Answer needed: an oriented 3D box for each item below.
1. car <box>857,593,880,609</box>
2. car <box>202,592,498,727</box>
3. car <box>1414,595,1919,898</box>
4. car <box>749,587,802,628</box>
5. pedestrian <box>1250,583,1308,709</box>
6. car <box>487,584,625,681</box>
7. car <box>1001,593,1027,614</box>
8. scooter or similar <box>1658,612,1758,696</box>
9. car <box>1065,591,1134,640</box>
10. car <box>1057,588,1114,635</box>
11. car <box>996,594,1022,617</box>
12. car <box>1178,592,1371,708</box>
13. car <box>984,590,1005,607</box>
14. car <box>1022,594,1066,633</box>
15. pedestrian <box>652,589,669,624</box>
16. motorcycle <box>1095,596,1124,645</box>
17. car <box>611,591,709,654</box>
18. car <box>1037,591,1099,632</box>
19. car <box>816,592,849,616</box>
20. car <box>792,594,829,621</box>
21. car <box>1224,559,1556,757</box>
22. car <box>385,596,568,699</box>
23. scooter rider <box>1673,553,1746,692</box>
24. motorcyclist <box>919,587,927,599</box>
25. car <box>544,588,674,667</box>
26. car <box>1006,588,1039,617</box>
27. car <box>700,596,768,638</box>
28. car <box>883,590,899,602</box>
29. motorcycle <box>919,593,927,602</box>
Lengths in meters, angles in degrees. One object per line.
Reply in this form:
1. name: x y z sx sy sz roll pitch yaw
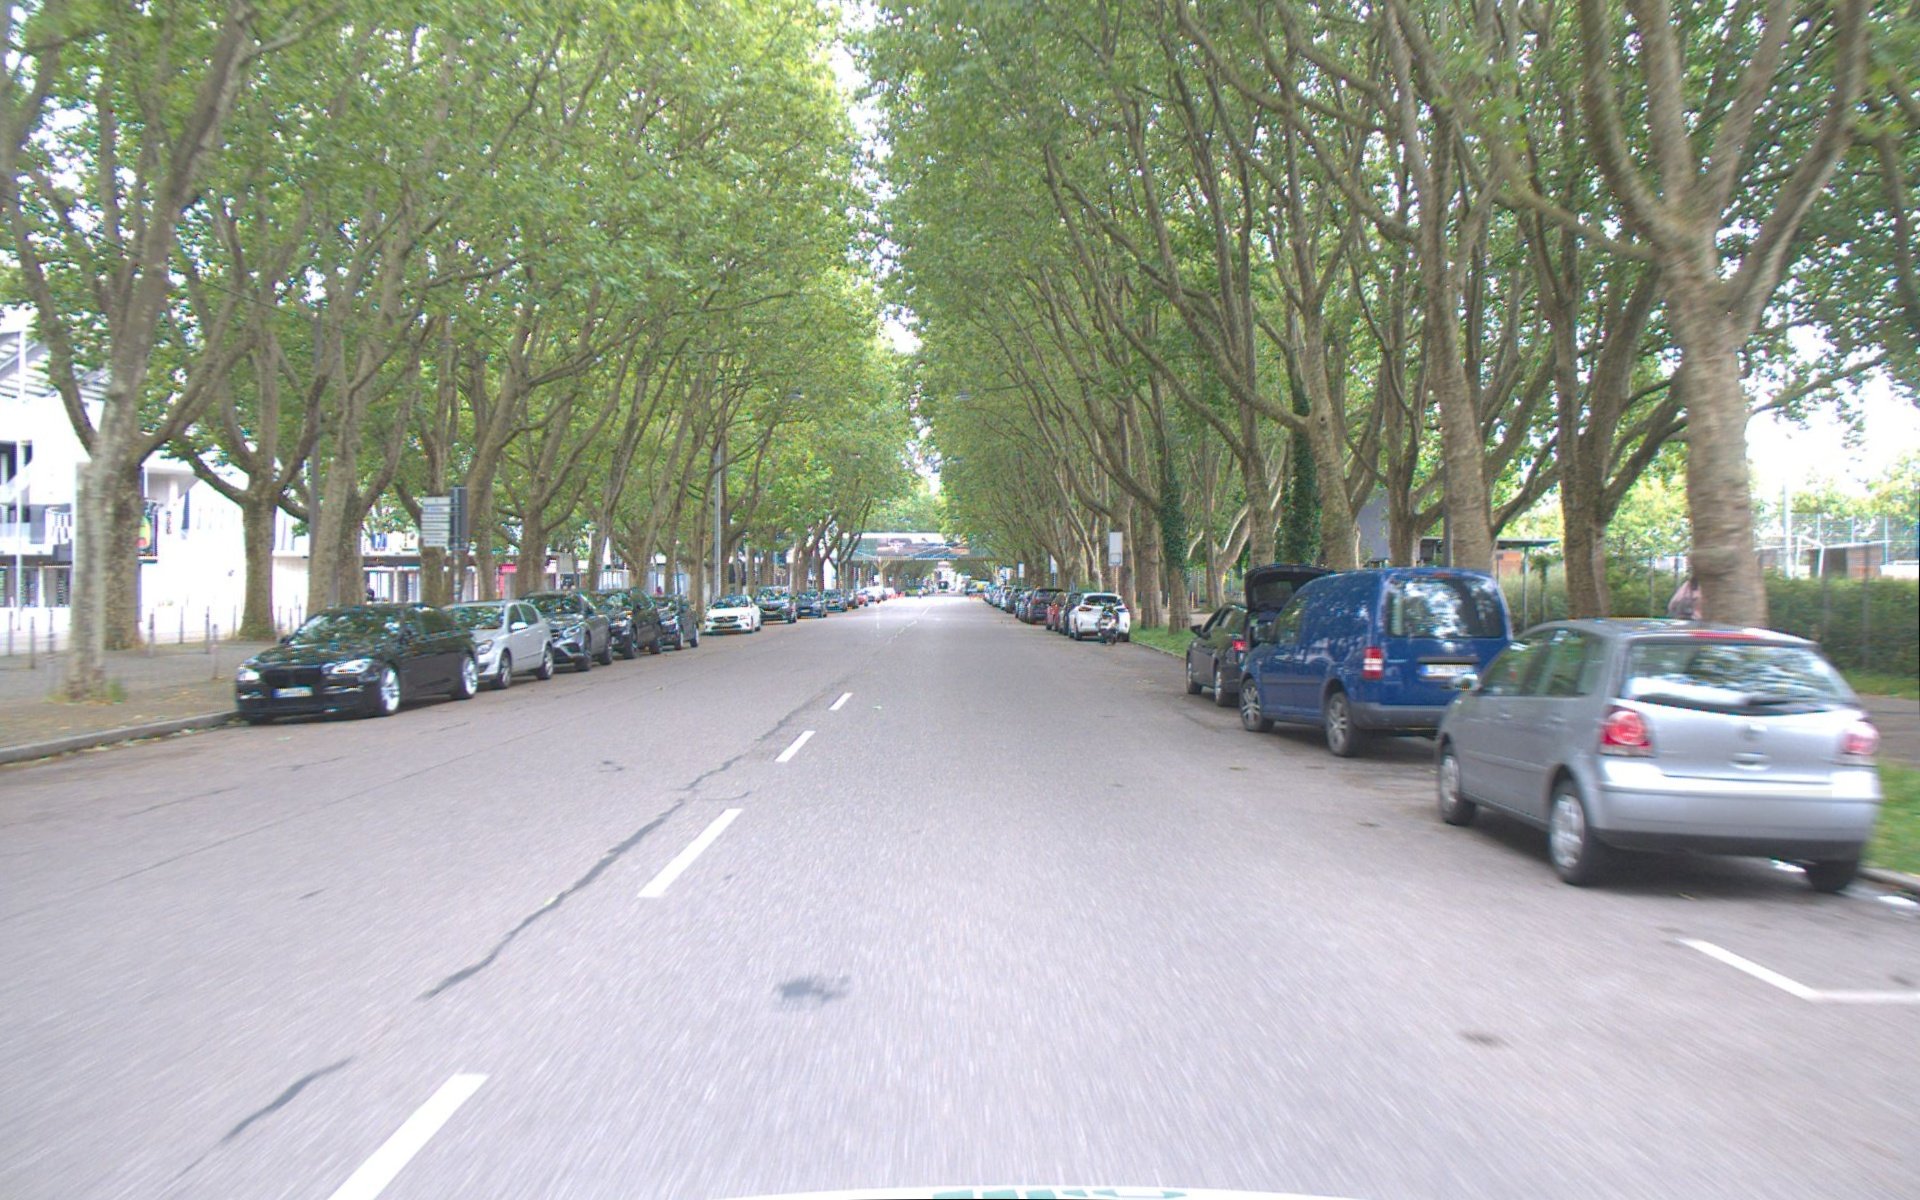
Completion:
1. car: -9.193 0.086 166.299 2.031 1.590 4.756 0 0 0
2. car: -8.200 0.717 22.850 2.041 1.556 5.146 -2 1 1
3. car: 4.213 0.752 10.545 1.585 1.487 3.946 2 1 1
4. car: -8.499 0.322 76.557 1.909 1.781 4.637 -2 0 -1
5. pedestrian: 4.242 0.600 22.035 0.620 1.655 0.742 0 0 -1
6. car: -8.180 0.611 33.885 1.832 1.747 4.645 -3 0 -3
7. car: 3.811 0.235 116.238 1.672 1.452 3.889 1 0 0
8. scooter or similar: 10.216 0.719 22.643 0.666 1.056 1.467 -3 0 0
9. car: 4.324 0.468 51.908 1.700 1.463 4.121 0 0 -2
10. car: 4.342 0.387 57.609 1.694 1.495 4.080 2 0 1
11. car: 3.836 0.445 130.088 1.864 1.769 4.506 0 0 0
12. car: 4.473 0.655 24.210 1.953 1.504 4.371 1 0 0
13. car: 3.191 -0.139 153.057 1.766 1.583 3.999 0 1 -1
14. car: 3.728 0.561 73.846 1.719 1.648 4.439 2 0 0
15. pedestrian: -14.990 0.321 82.656 0.562 1.772 0.768 0 0 14
16. motorcycle: 4.233 0.564 46.778 0.697 1.355 1.994 0 0 8
17. car: -8.165 0.567 45.366 1.796 1.520 4.442 -3 0 0
18. car: 4.030 0.407 62.490 1.682 1.463 4.625 2 0 -4
19. car: -8.630 0.289 112.268 1.839 1.553 4.151 -1 0 0
20. car: -8.530 0.401 94.459 1.689 1.512 4.574 0 0 0
21. car: 4.402 0.521 17.733 1.808 1.814 4.439 2 1 -9
22. car: -8.079 0.743 28.056 1.796 1.481 4.230 -3 0 0
23. scooter rider: 10.204 0.300 22.535 0.662 1.831 0.587 -2 0 0
24. motorcyclist: -4.675 -0.922 209.168 0.853 1.506 1.264 0 0 -4
25. car: -8.349 0.598 39.810 1.898 1.671 4.929 -3 0 1
26. car: 3.869 0.158 103.148 1.673 1.728 4.629 1 0 -2
27. car: -8.555 0.632 63.046 1.865 1.427 4.751 -3 0 0
28. car: -9.198 -0.544 219.403 1.955 1.629 3.996 0 1 -5
29. motorcycle: -4.670 -0.343 209.185 0.856 1.098 3.050 0 0 -4
